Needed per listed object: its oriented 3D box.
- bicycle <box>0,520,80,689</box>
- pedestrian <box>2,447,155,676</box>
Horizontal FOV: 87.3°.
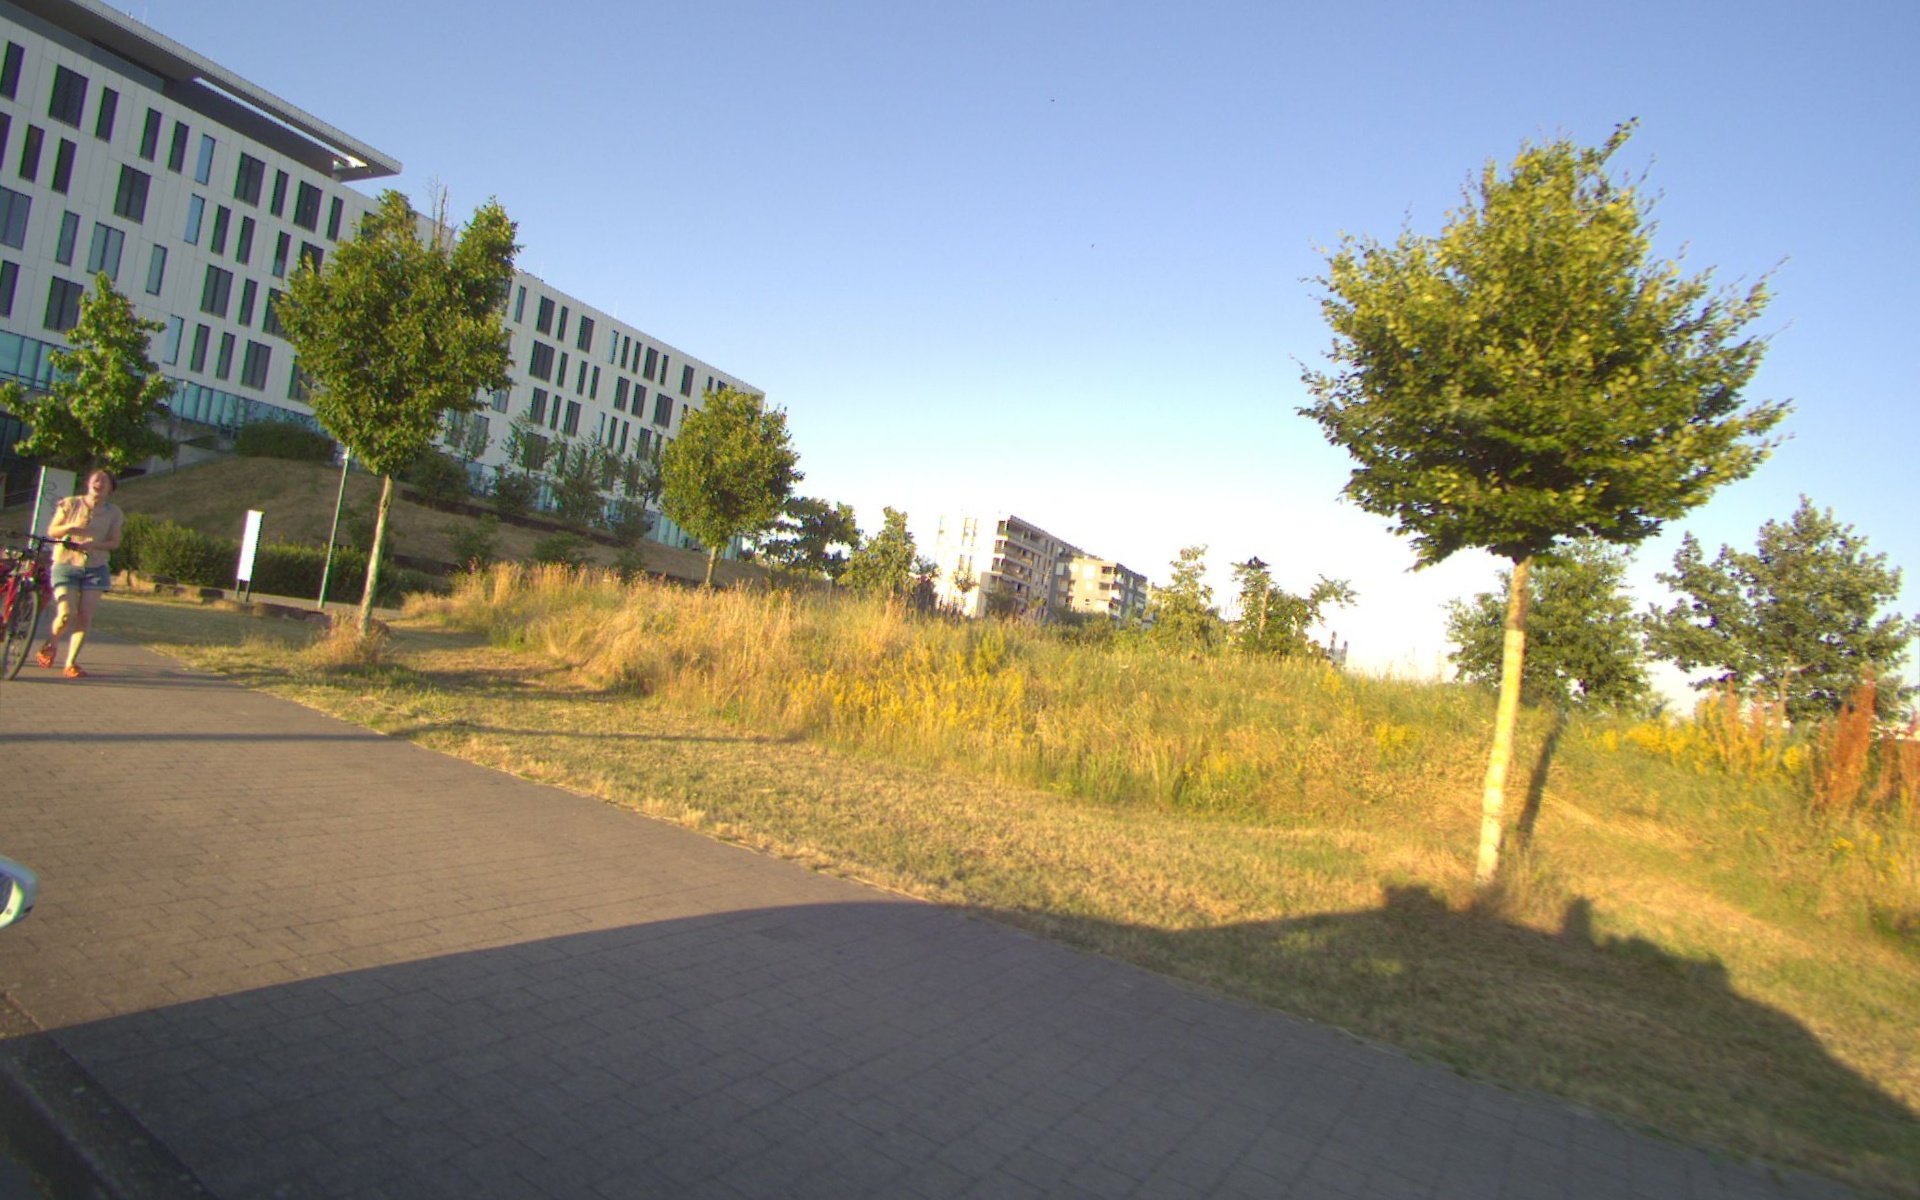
[{"bbox_3d":[-7.843,-0.030,8.177,1.910,1.181,0.450,8,-2,35],"label":"bicycle"},{"bbox_3d":[-7.576,-0.333,8.647,0.805,1.822,0.595,8,-2,36],"label":"pedestrian"}]
